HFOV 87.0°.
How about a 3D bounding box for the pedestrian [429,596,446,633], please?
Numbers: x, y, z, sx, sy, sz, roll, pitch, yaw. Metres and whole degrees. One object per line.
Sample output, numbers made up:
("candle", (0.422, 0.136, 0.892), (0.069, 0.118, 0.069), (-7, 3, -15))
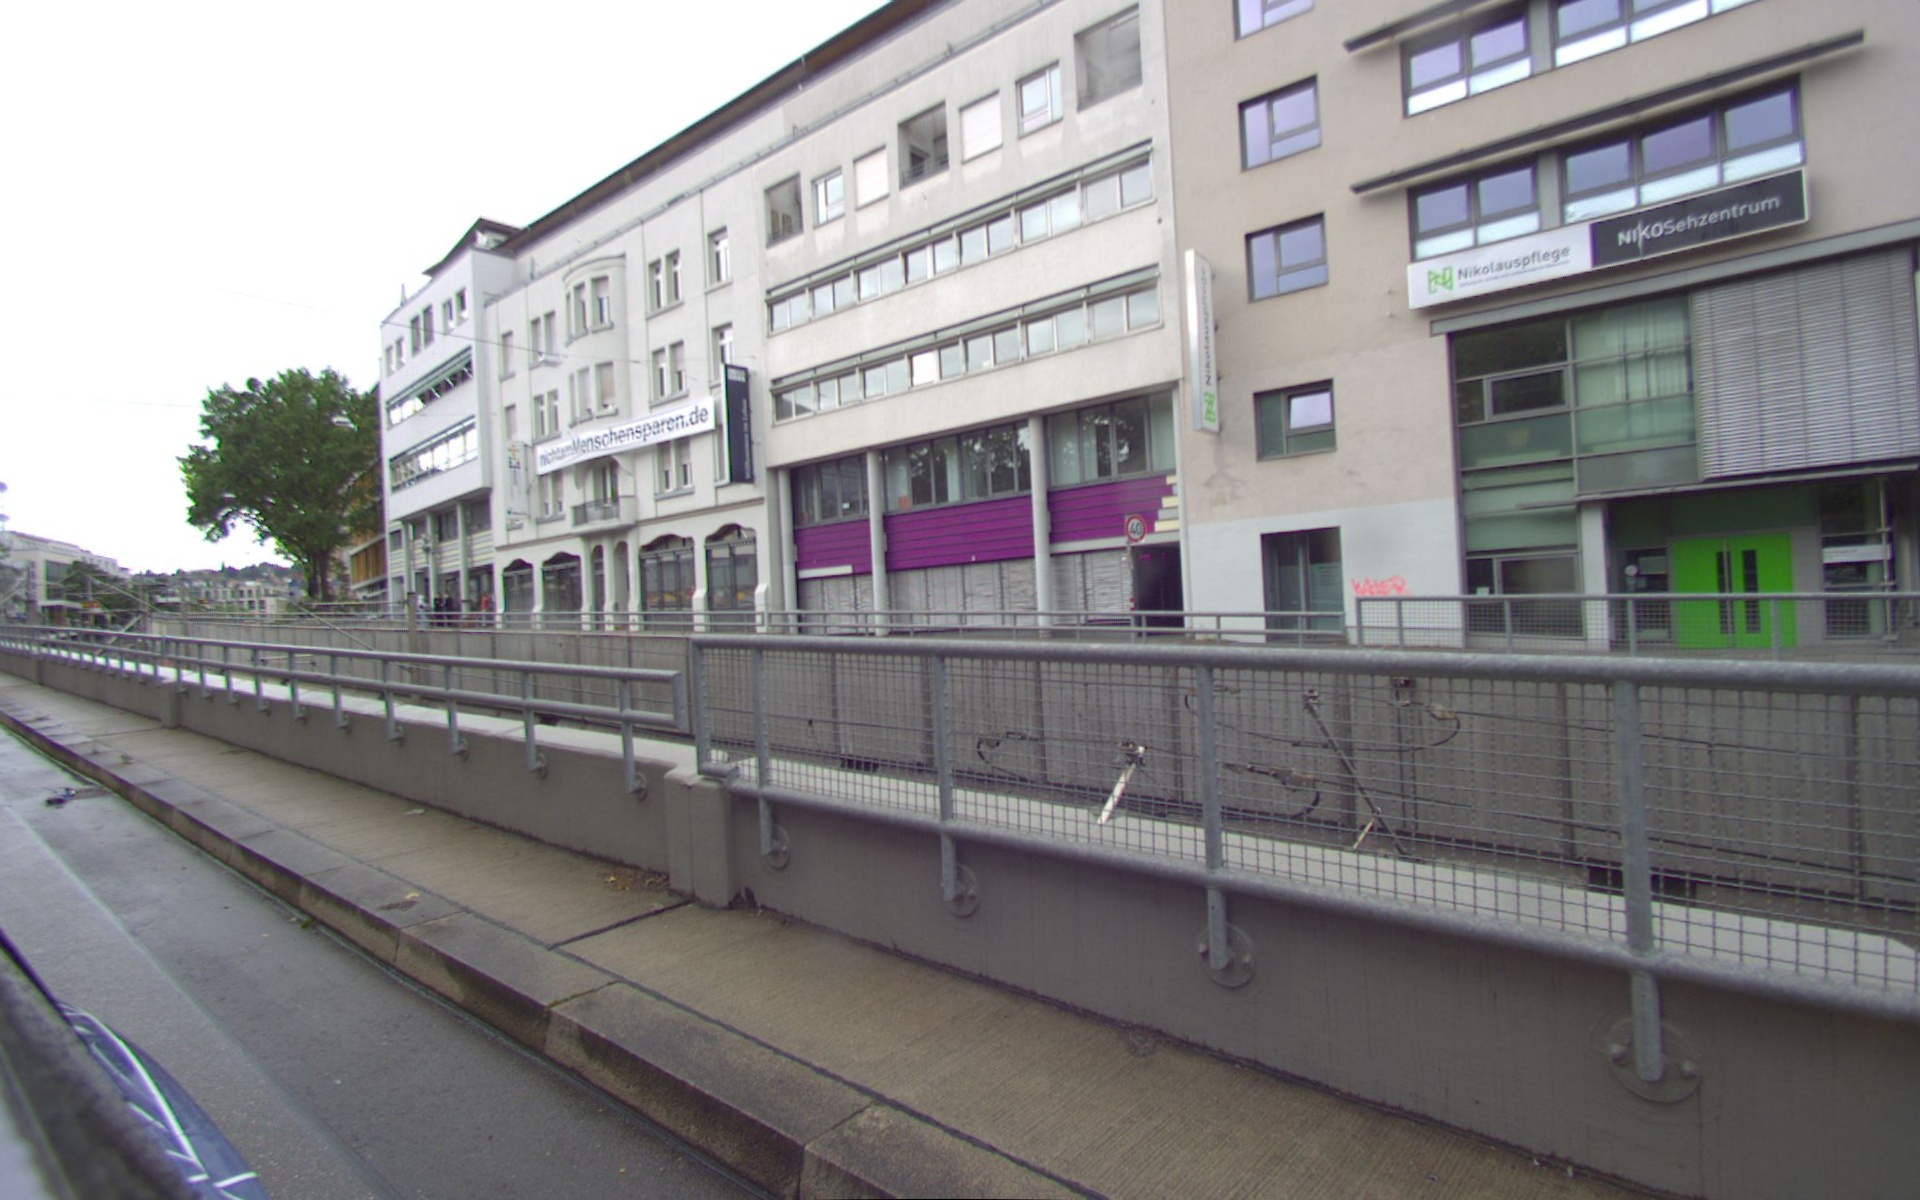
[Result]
("pedestrian", (-26.429, 0.724, 51.215), (0.469, 1.816, 0.541), (-2, 1, 33))

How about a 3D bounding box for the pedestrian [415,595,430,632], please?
("pedestrian", (-26.739, 0.669, 50.349), (0.463, 1.816, 0.548), (-3, 1, -42))

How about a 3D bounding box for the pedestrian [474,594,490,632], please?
("pedestrian", (-23.023, 0.627, 48.745), (0.547, 1.816, 0.464), (-1, 1, 40))

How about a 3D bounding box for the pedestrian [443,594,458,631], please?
("pedestrian", (-25.414, 0.624, 50.467), (0.547, 1.816, 0.463), (-2, 1, 44))
